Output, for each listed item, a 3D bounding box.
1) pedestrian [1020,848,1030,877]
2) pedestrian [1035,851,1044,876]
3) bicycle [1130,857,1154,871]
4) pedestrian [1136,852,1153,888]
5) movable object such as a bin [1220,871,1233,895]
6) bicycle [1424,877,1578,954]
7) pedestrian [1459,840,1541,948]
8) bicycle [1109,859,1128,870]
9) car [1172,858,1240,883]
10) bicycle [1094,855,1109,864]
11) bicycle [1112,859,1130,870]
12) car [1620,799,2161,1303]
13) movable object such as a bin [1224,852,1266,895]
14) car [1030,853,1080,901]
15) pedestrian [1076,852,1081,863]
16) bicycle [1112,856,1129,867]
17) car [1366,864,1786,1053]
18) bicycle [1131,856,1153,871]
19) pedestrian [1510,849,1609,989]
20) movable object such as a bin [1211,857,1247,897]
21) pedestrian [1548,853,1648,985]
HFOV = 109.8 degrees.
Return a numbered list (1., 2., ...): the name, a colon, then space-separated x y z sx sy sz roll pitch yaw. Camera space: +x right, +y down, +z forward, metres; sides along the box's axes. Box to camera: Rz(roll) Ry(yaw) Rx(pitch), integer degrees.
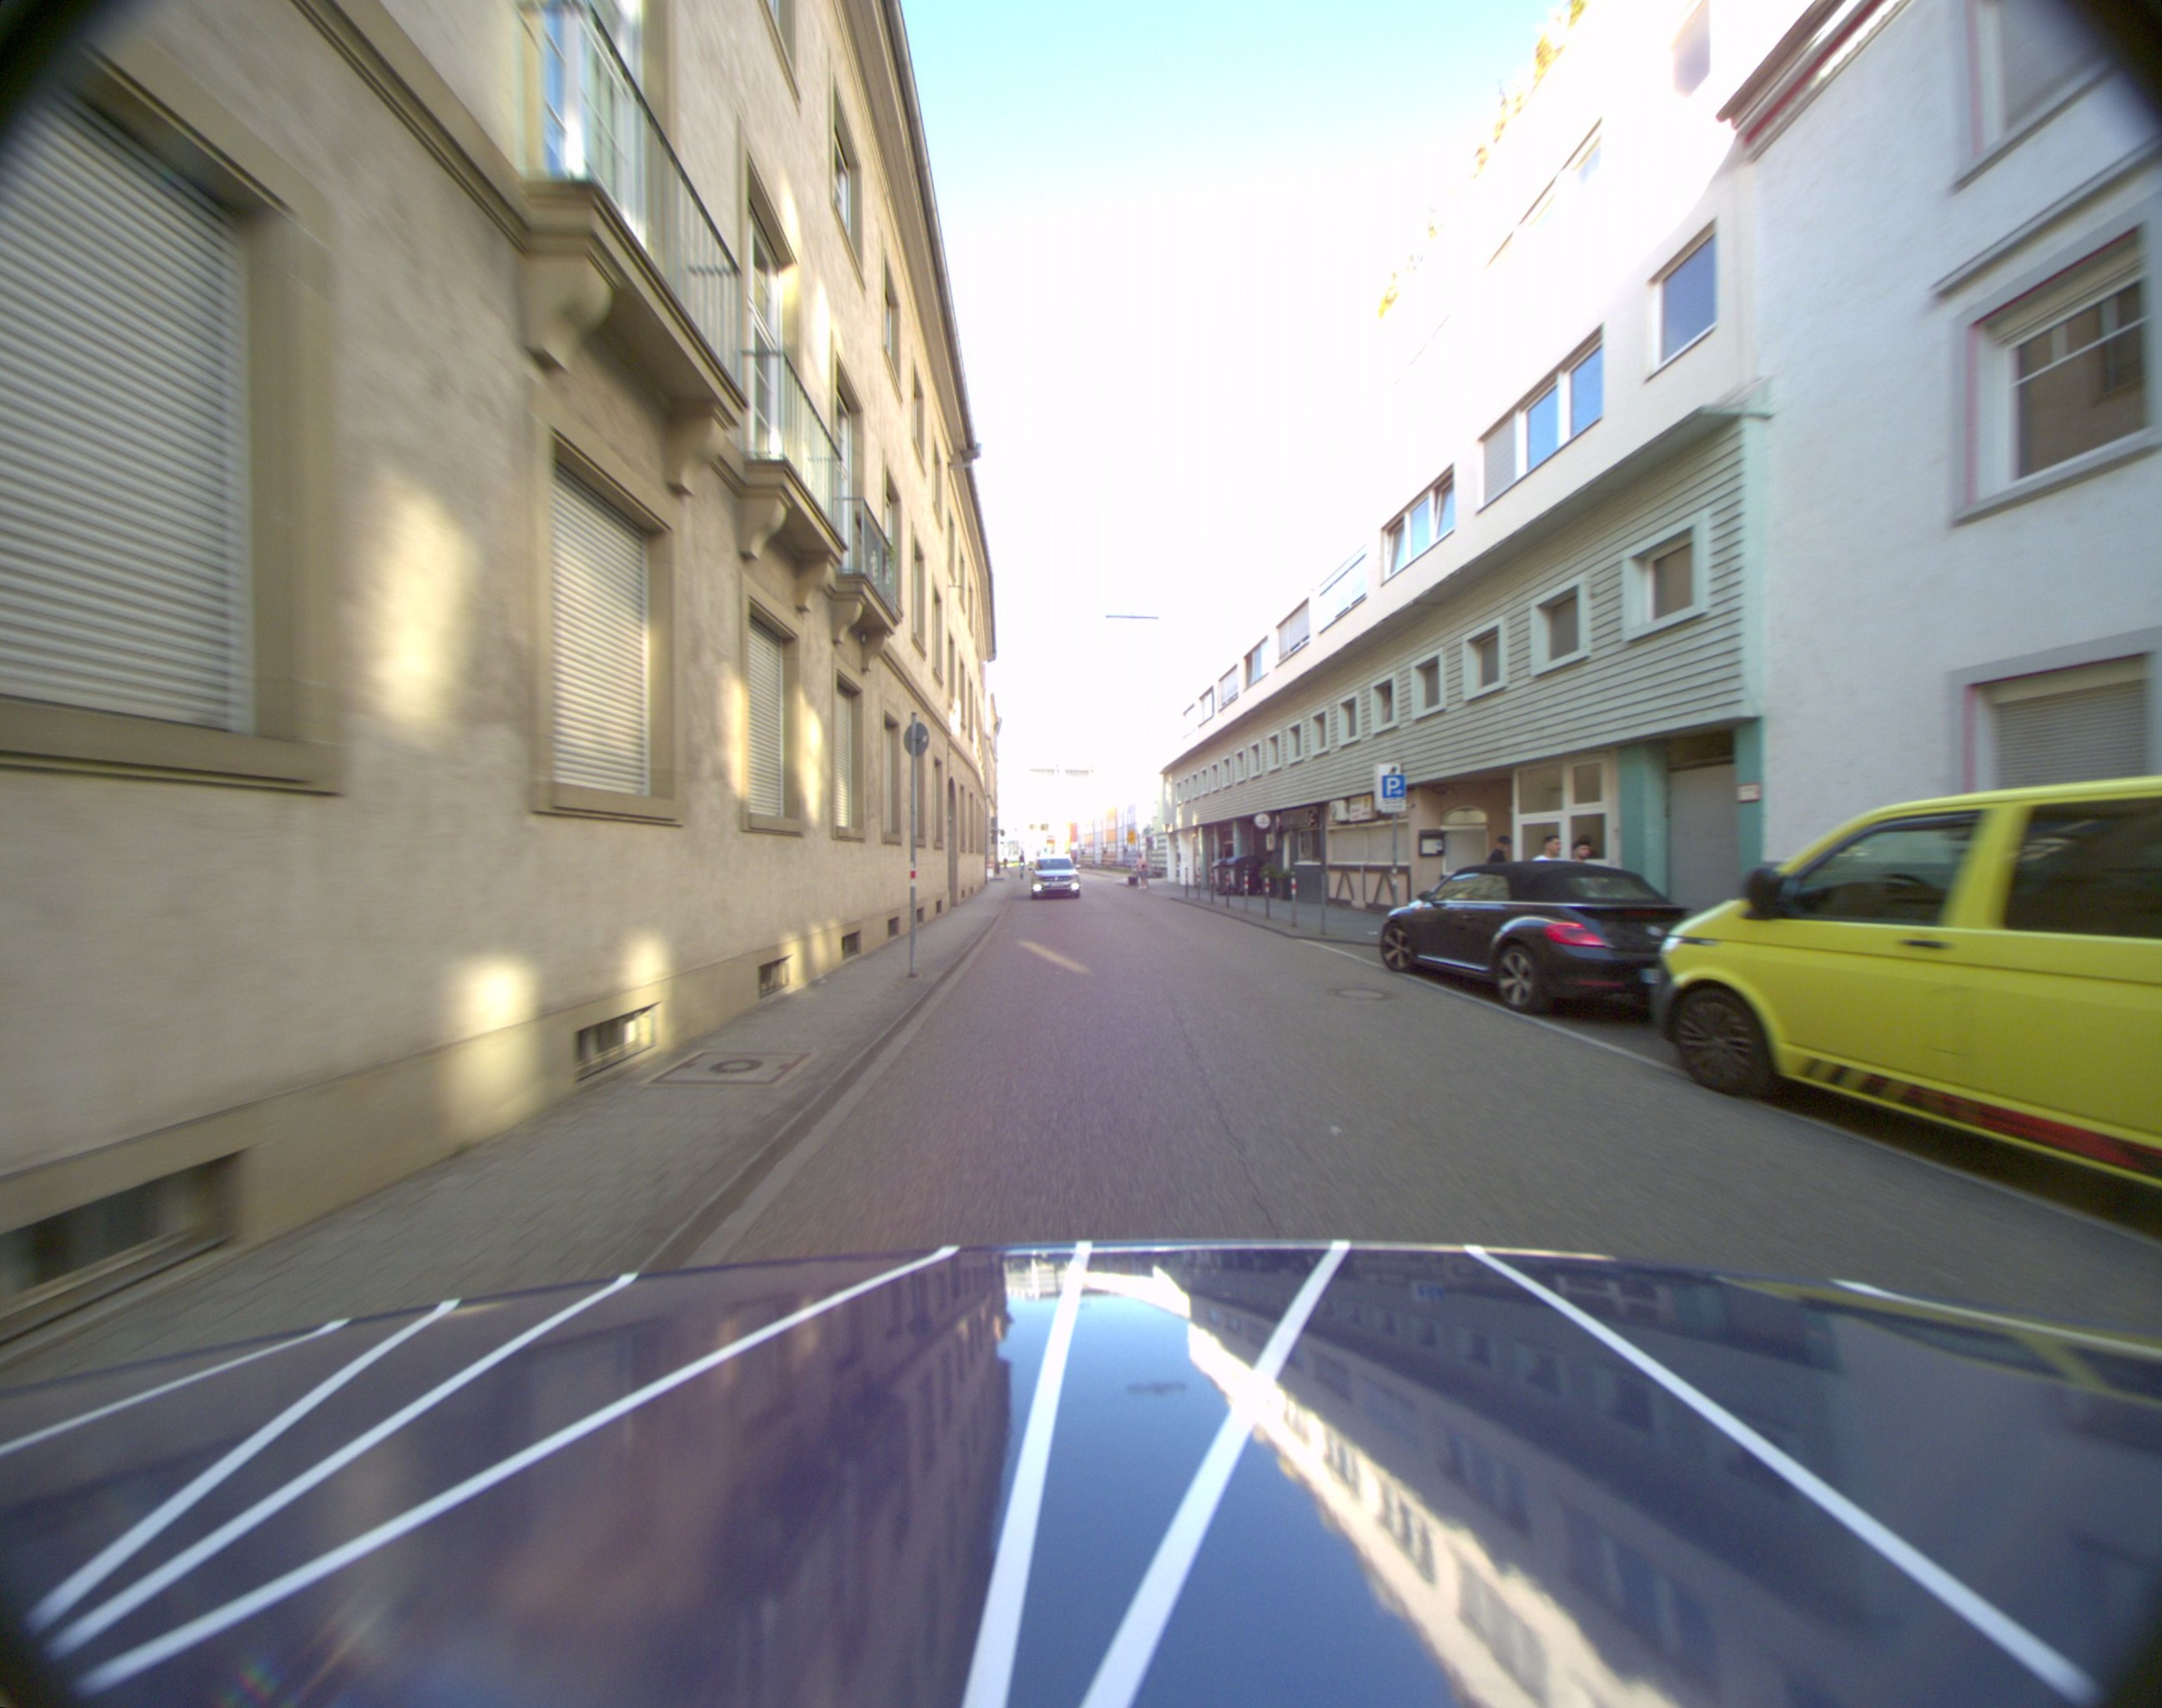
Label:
1. pedestrian: -3.837 0.566 52.002 0.678 1.928 0.858 -1 1 -6
2. pedestrian: -2.918 0.648 53.668 0.603 1.770 0.651 -1 1 -6
3. bicycle: 5.031 0.826 63.129 1.821 1.094 0.749 -4 1 -5
4. pedestrian: 2.975 0.756 35.624 0.494 1.660 0.627 -3 1 -17
5. movable object such as a bin: 5.729 1.135 29.842 0.394 0.936 0.467 0 0 -4
6. bicycle: 6.863 0.973 12.561 2.130 1.156 0.825 0 1 20
7. pedestrian: 6.891 0.633 12.545 1.079 1.718 0.803 0 1 20
8. bicycle: 3.765 1.080 76.979 1.803 0.940 0.388 -4 1 -5
9. car: 7.883 1.046 47.988 3.944 1.511 1.692 0 0 -6
10. bicycle: 2.526 0.653 93.828 1.808 0.977 0.653 -5 1 -8
11. bicycle: 4.074 1.072 77.699 1.803 0.940 0.388 -4 1 -5
12. car: 4.942 0.756 3.124 1.885 1.856 4.863 2 0 -1
13. movable object such as a bin: 5.869 0.703 27.286 1.125 1.511 1.341 0 -1 -4
14. car: -0.963 0.811 29.117 1.683 1.568 4.242 -3 0 -1
15. pedestrian: -0.396 0.483 109.521 0.612 1.641 0.447 -1 1 -11
16. bicycle: 4.141 0.778 78.961 1.658 0.940 0.388 -4 1 -5
17. car: 4.940 0.914 8.437 1.824 1.477 4.075 2 0 -3
18. bicycle: 5.177 0.807 64.581 1.739 1.094 0.388 -4 1 -12
19. pedestrian: 6.120 0.800 9.766 0.700 1.724 0.829 1 1 -2
20. movable object such as a bin: 5.574 0.853 28.788 0.971 1.462 1.474 0 -1 -4
21. pedestrian: 6.835 0.825 10.081 0.674 1.660 0.894 0 1 -2
